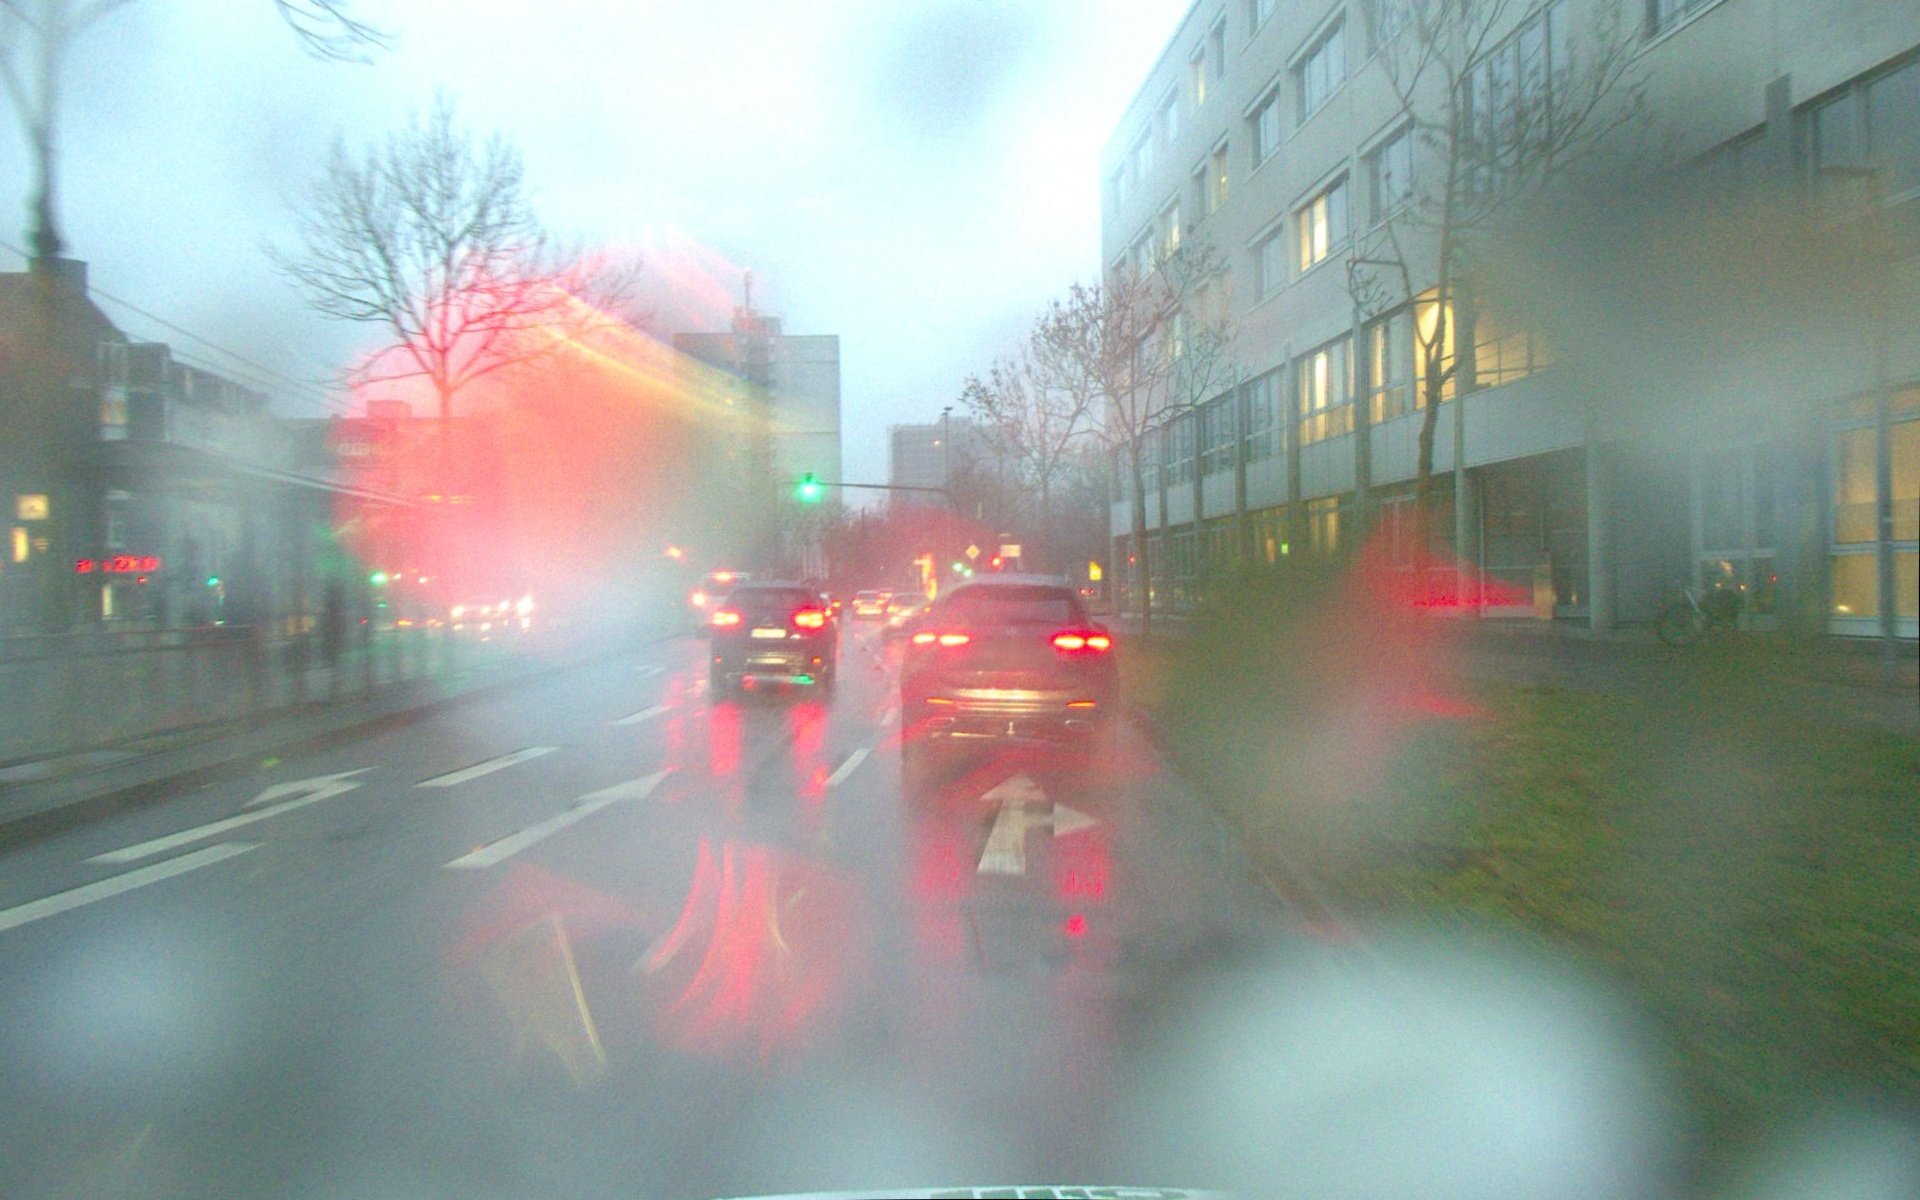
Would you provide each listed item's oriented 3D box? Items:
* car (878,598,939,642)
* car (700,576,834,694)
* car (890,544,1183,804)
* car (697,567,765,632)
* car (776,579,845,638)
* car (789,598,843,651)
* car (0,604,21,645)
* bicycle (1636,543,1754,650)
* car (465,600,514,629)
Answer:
[{"bbox_3d":[-1.763,0.640,55.614,1.850,1.377,4.097,0,1,-5],"label":"car"},{"bbox_3d":[-3.089,0.551,26.640,1.955,1.742,4.318,0,-1,-6],"label":"car"},{"bbox_3d":[0.524,0.602,14.938,1.956,2.010,4.061,0,-1,-8],"label":"car"},{"bbox_3d":[-7.608,-0.019,55.333,1.914,2.069,4.878,0,0,-4],"label":"car"},{"bbox_3d":[-4.394,0.276,48.823,1.954,1.671,4.018,0,-1,-5],"label":"car"},{"bbox_3d":[-5.690,0.983,65.785,1.953,2.049,3.998,0,-1,-2],"label":"car"},{"bbox_3d":[-34.634,0.832,56.849,3.729,1.390,1.694,0,-1,-10],"label":"car"},{"bbox_3d":[9.760,-0.072,22.051,0.805,1.295,2.460,-5,0,11],"label":"bicycle"},{"bbox_3d":[-25.765,0.801,90.648,1.723,1.523,3.757,0,-1,-2],"label":"car"}]
